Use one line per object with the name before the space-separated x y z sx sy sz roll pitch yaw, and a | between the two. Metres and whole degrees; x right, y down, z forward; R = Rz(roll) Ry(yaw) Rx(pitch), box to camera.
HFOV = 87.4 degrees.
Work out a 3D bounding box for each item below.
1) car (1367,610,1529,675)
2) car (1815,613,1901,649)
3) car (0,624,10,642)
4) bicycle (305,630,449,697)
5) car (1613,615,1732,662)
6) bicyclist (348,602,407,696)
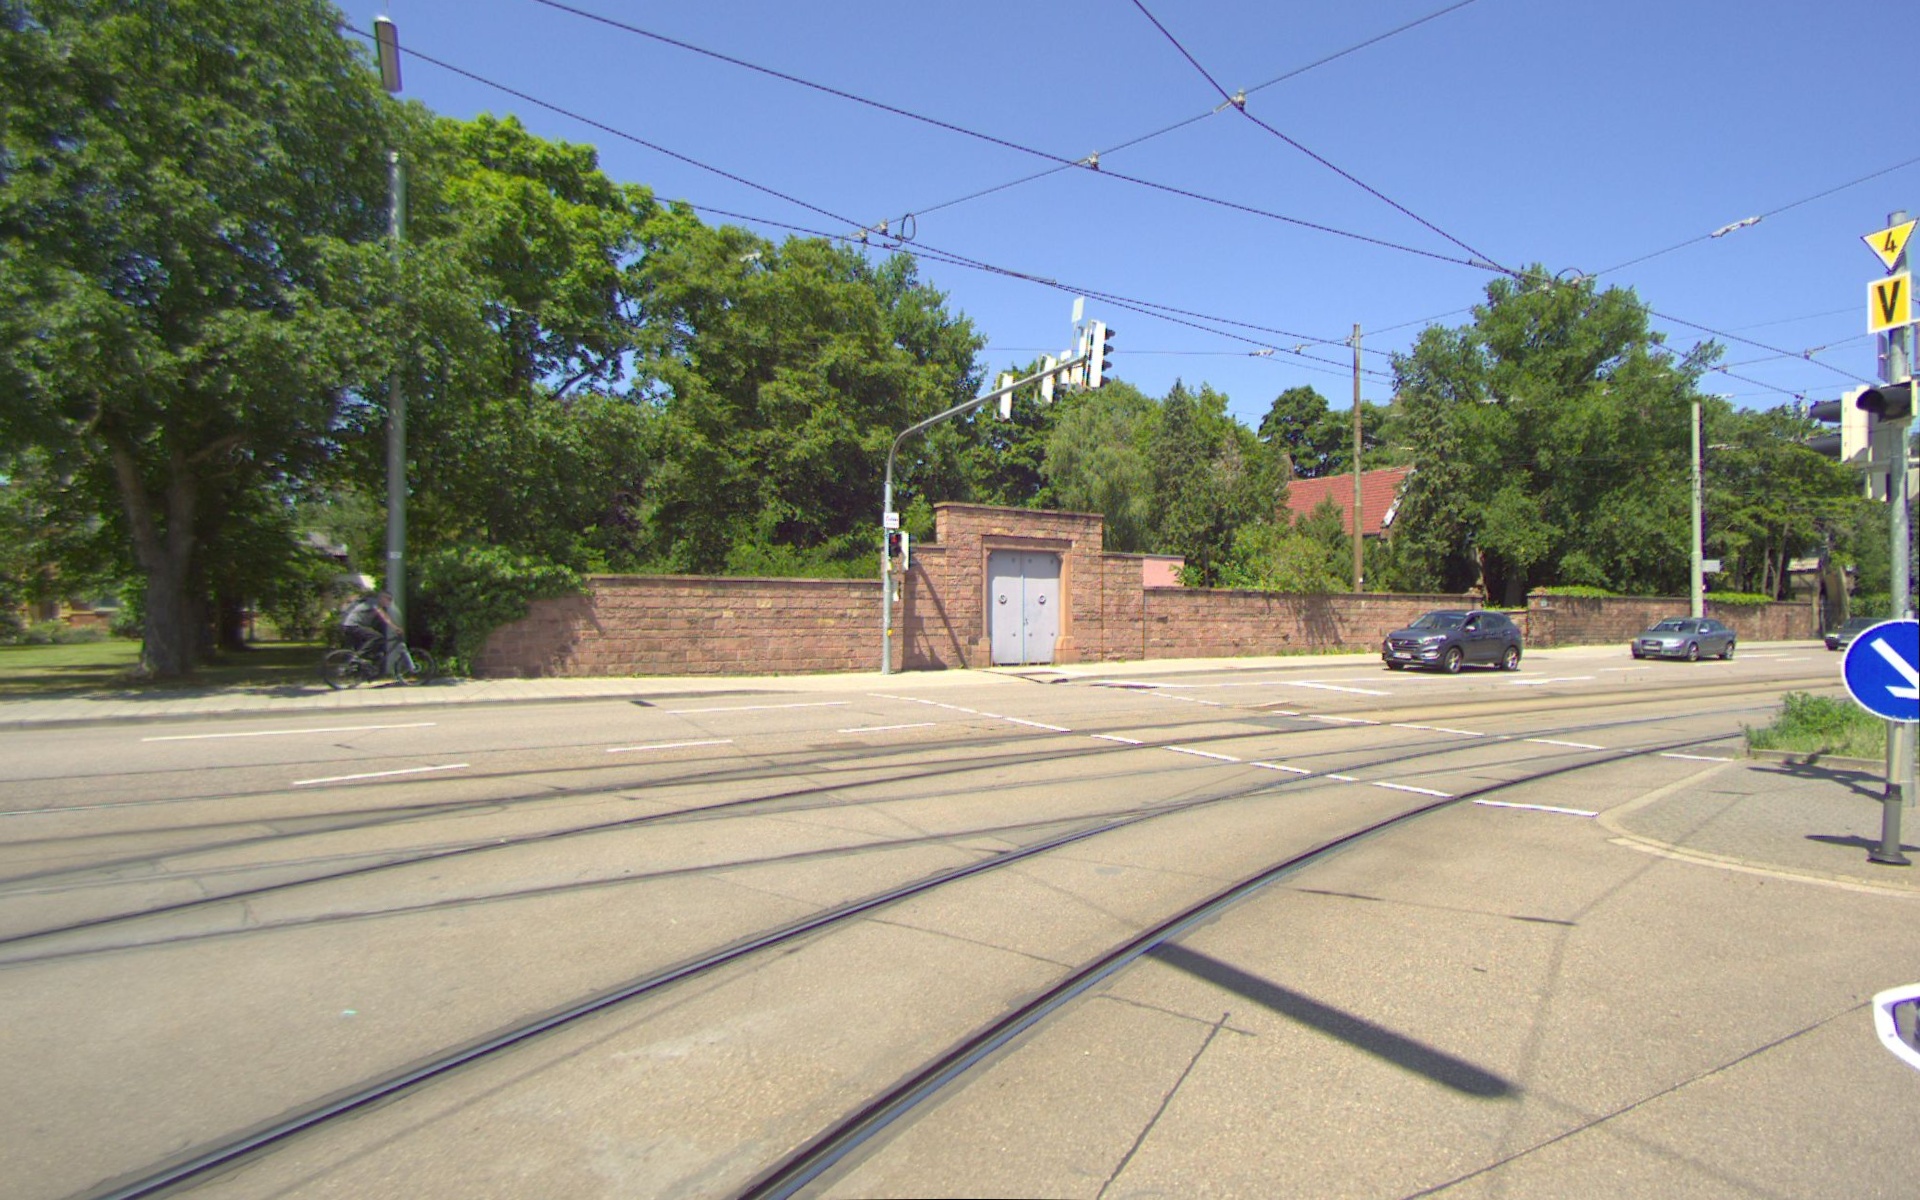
car | 13.255 1.118 27.226 4.467 1.624 1.811 1 -1 -30
car | 37.818 1.260 42.281 4.070 1.418 1.632 0 1 -32
car | -52.505 1.797 54.160 1.316 0.964 2.713 0 -1 -32
bicycle | -9.928 1.060 17.170 2.079 1.055 0.711 0 -1 -31
car | 24.015 1.266 33.841 4.116 1.440 1.634 0 1 -29
bicyclist | -9.940 0.823 17.155 0.835 1.551 0.846 0 -1 -30
